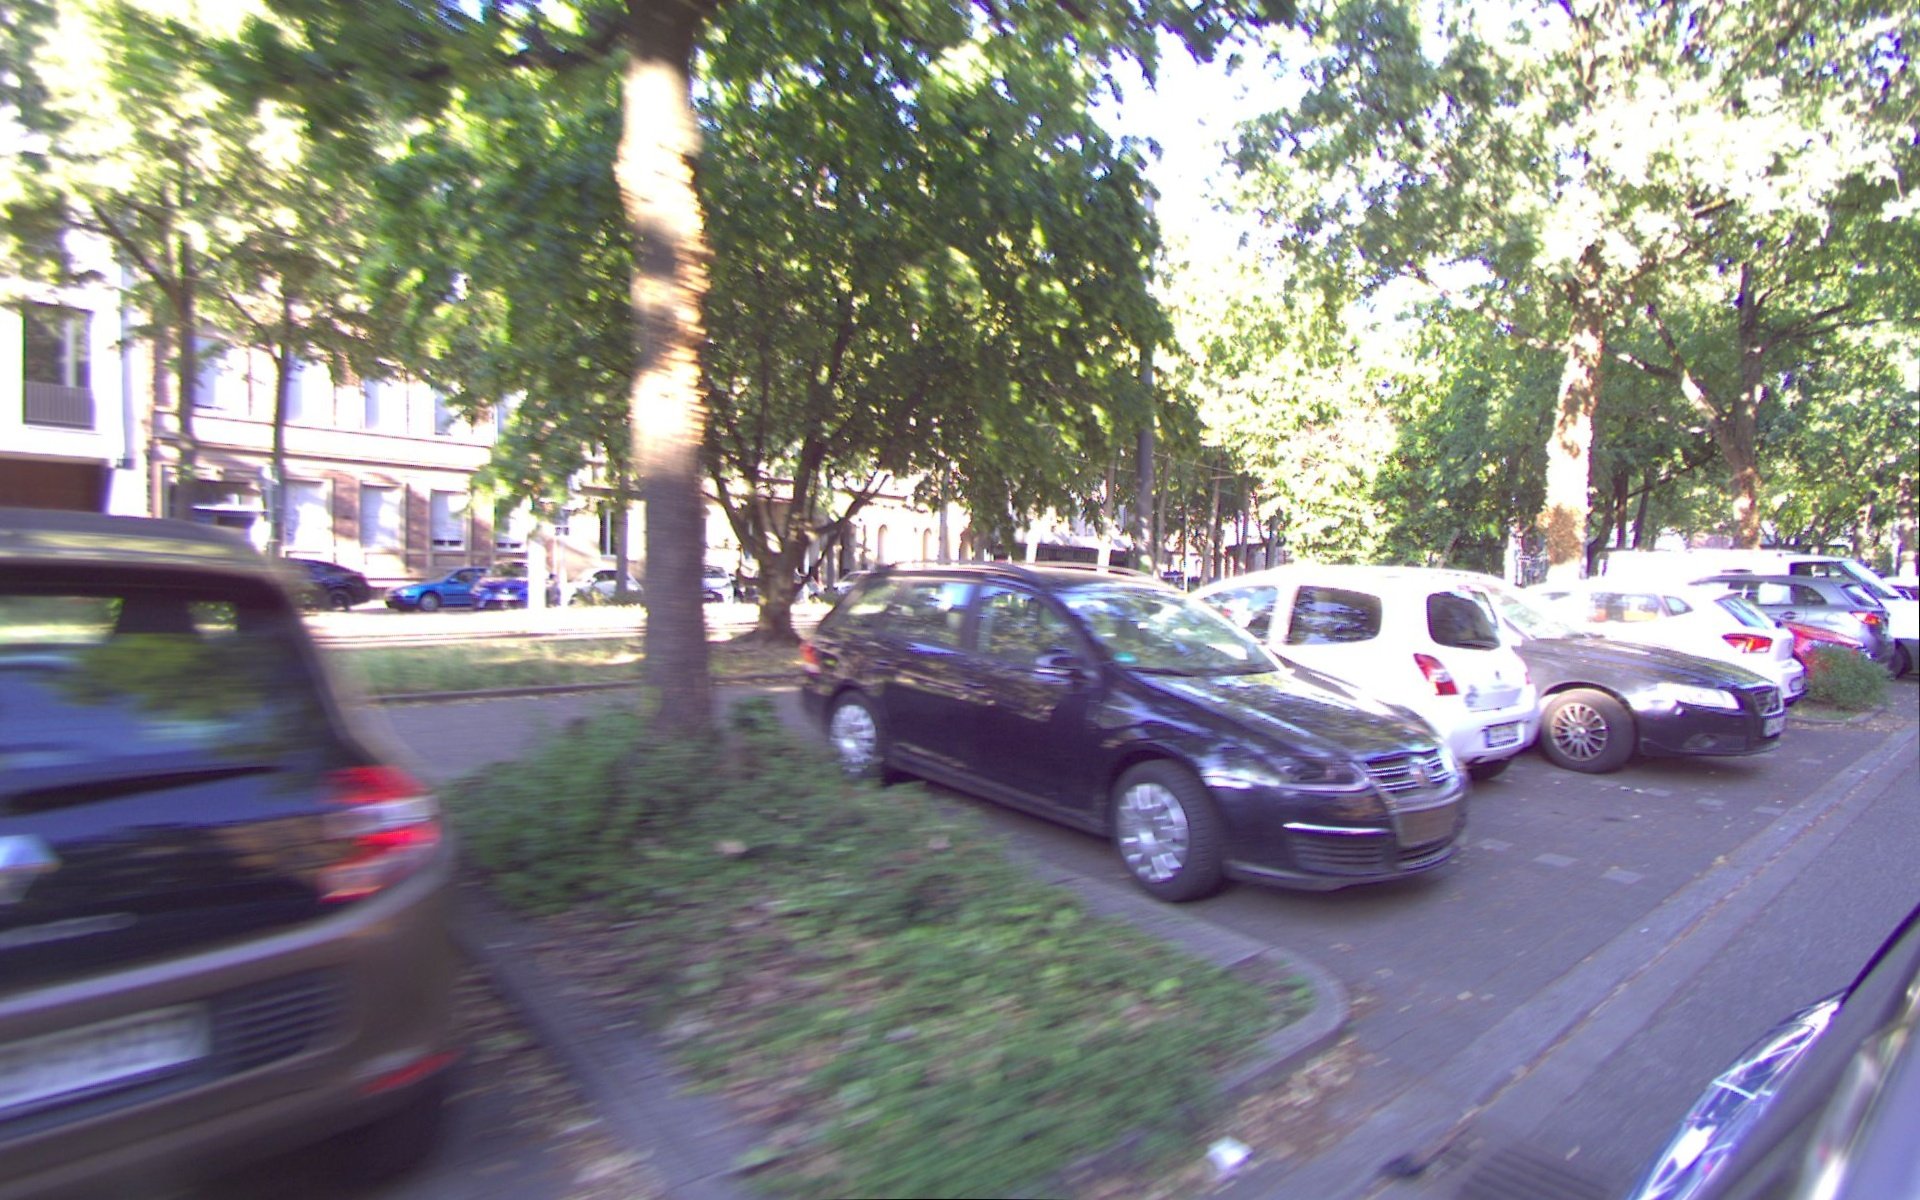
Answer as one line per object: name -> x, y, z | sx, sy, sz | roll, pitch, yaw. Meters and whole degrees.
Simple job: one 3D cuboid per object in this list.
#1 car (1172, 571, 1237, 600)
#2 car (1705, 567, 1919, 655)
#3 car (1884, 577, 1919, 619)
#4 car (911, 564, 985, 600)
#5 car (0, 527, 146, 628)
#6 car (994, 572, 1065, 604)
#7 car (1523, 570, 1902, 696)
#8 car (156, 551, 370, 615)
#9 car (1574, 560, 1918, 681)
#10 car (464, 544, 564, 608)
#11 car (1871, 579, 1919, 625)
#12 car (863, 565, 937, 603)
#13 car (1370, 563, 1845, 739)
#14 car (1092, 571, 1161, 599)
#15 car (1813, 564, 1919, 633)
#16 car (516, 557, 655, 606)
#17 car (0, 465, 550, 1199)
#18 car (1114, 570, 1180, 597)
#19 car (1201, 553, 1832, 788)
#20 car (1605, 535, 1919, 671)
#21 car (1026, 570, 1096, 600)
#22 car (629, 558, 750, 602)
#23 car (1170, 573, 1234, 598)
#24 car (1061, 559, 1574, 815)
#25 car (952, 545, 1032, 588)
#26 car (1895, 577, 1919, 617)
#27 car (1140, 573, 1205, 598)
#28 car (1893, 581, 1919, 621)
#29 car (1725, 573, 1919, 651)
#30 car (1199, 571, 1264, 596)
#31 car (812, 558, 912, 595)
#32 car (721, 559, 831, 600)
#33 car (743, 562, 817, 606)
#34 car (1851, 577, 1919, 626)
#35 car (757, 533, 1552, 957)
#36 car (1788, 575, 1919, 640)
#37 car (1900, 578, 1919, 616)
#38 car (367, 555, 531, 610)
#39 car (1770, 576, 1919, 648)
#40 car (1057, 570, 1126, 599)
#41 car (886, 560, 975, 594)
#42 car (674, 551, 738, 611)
car -> 15.840, -0.969, 65.751 | 1.714, 1.788, 4.003 | 0, 2, -33
car -> 17.489, 0.169, 20.129 | 1.654, 1.573, 3.996 | 0, 3, -40
car -> 36.688, -0.018, 37.072 | 1.654, 1.507, 3.996 | 0, 3, -40
car -> -0.546, -0.746, 40.044 | 1.711, 1.294, 4.010 | 1, 2, -19
car -> -17.840, -0.478, 19.091 | 1.889, 1.743, 4.562 | 1, 2, -10
car -> 3.039, -0.548, 45.215 | 1.711, 1.294, 4.010 | 1, 2, -19
car -> 10.427, 0.344, 14.280 | 1.654, 1.440, 3.996 | 0, 3, -40
car -> -19.069, -0.493, 27.841 | 1.992, 1.587, 4.526 | 3, 3, 41
car -> 12.157, 0.208, 15.853 | 1.736, 1.599, 3.994 | 0, 3, -42
car -> -11.489, -0.667, 26.320 | 1.771, 1.505, 4.293 | 1, 2, -16
car -> 32.886, 0.102, 33.399 | 1.654, 1.507, 3.996 | 0, 3, -40
car -> -2.312, -0.619, 37.949 | 1.711, 1.294, 4.010 | 1, 2, -19
car -> 6.754, 0.383, 10.934 | 1.654, 1.478, 3.996 | 0, 3, -40
car -> 8.370, -0.792, 51.281 | 1.711, 1.294, 4.010 | 1, 2, -19
car -> 26.669, -0.036, 28.319 | 1.654, 1.855, 3.996 | 0, 3, -40
car -> -13.141, -0.688, 35.692 | 1.989, 1.587, 4.186 | 3, 3, 37
car -> -3.024, 0.508, 3.379 | 1.915, 1.591, 4.551 | -2, 3, -38
car -> 9.974, -0.887, 54.224 | 1.711, 1.294, 4.010 | 1, 2, -19
car -> 4.730, 0.380, 9.325 | 1.964, 1.591, 4.714 | -2, 3, -38
car -> 14.209, -0.038, 17.370 | 2.117, 2.063, 4.856 | 0, 3, -40
car -> 4.734, -0.747, 47.944 | 1.711, 1.294, 4.010 | 1, 2, -19
car -> -10.375, -0.784, 39.028 | 1.989, 1.587, 4.186 | 3, 3, 37
car -> 13.984, -0.882, 58.758 | 1.711, 1.294, 4.010 | 1, 2, -19
car -> 2.585, 0.466, 7.918 | 1.687, 1.533, 3.408 | 0, 2, -38
car -> 1.785, -1.814, 54.939 | 1.990, 2.199, 4.550 | 3, 2, 38
car -> 38.208, -0.042, 38.262 | 1.654, 1.507, 3.996 | 0, 3, -40
car -> 11.938, -0.834, 57.162 | 1.711, 1.294, 4.010 | 1, 2, -19
car -> 34.503, 0.094, 34.327 | 1.654, 1.355, 3.996 | 0, 3, -40
car -> 19.222, 0.215, 21.878 | 1.654, 1.507, 3.996 | 0, 3, -40
car -> 15.947, -0.993, 59.648 | 1.711, 1.294, 4.010 | 1, 2, -19
car -> -4.468, -1.103, 46.721 | 1.990, 1.587, 4.550 | 3, 3, 38
car -> -7.688, -0.862, 42.543 | 1.989, 1.587, 4.359 | 3, 3, 37
car -> -5.936, -0.566, 33.037 | 1.771, 1.294, 4.293 | 1, 2, -19
car -> 30.778, 0.074, 31.754 | 1.654, 1.507, 3.996 | 0, 3, -40
car -> 0.705, 0.445, 6.256 | 1.964, 1.591, 4.714 | -2, 3, -38
car -> 23.369, 0.189, 25.184 | 1.654, 1.507, 3.996 | 0, 3, -40
car -> 39.954, -0.069, 39.942 | 1.654, 1.507, 3.996 | 0, 3, -40
car -> -16.034, -0.578, 31.910 | 1.989, 1.587, 4.186 | 3, 3, 37
car -> 21.390, 0.262, 23.295 | 1.654, 1.507, 3.996 | 0, 3, -40
car -> 6.447, -0.772, 50.010 | 1.711, 1.294, 4.010 | 1, 2, -19
car -> -1.432, -1.174, 50.835 | 1.990, 1.587, 4.550 | 3, 3, 38
car -> -7.934, -0.640, 31.348 | 1.771, 1.716, 4.293 | 1, 2, -16
